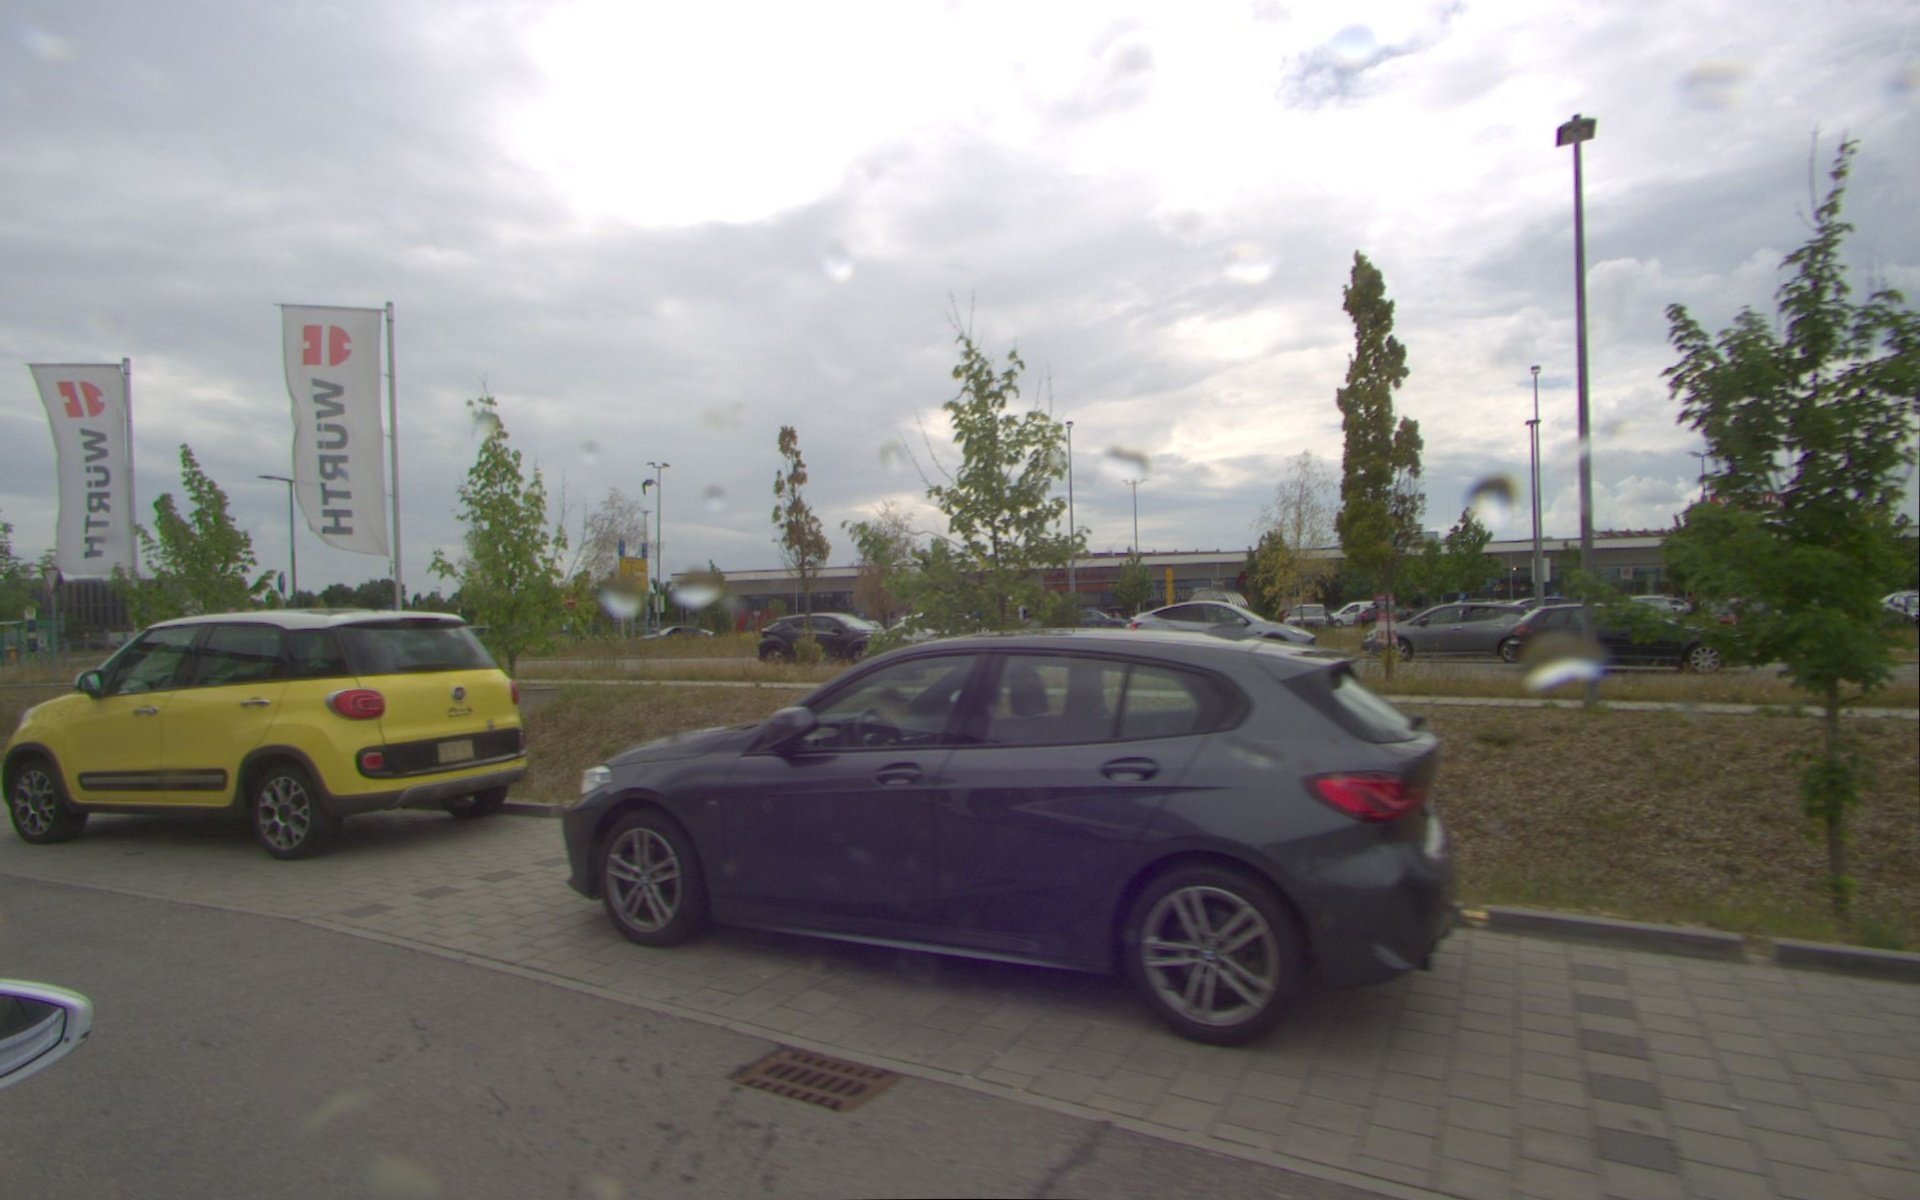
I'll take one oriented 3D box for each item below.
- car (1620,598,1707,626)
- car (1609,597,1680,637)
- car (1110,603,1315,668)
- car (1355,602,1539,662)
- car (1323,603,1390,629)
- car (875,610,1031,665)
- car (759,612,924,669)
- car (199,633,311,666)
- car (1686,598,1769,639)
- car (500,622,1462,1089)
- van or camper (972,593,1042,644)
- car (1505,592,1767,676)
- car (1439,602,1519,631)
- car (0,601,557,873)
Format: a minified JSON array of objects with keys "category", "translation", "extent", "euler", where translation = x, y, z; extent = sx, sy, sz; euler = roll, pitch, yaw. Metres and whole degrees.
[{"category":"car","translation":[43.423,0.767,61.900],"extent":[3.924,1.661,1.876],"euler":[-1,-1,11]},{"category":"car","translation":[27.004,0.669,39.614],"extent":[1.750,1.495,3.986],"euler":[-1,-1,26]},{"category":"car","translation":[6.394,0.886,25.484],"extent":[4.805,1.528,1.804],"euler":[-1,0,26]},{"category":"car","translation":[12.758,0.859,26.361],"extent":[4.199,1.474,1.992],"euler":[-2,-2,28]},{"category":"car","translation":[26.844,1.092,67.882],"extent":[3.924,1.661,1.876],"euler":[-1,-1,11]},{"category":"car","translation":[-0.211,1.096,29.203],"extent":[4.179,1.469,1.796],"euler":[-2,-1,24]},{"category":"car","translation":[-3.084,1.042,26.118],"extent":[3.935,1.372,1.754],"euler":[-1,-1,25]},{"category":"car","translation":[-30.162,2.123,42.866],"extent":[3.925,1.341,1.719],"euler":[-1,-1,12]},{"category":"car","translation":[29.332,0.700,38.386],"extent":[1.750,1.495,3.986],"euler":[-1,-1,26]},{"category":"car","translation":[0.005,0.858,4.805],"extent":[4.237,1.434,1.747],"euler":[-2,-2,26]},{"category":"van or camper","translation":[2.480,0.942,51.523],"extent":[2.253,2.525,3.987],"euler":[-1,-1,25]},{"category":"car","translation":[13.773,0.692,20.757],"extent":[4.268,1.589,1.902],"euler":[-1,-1,27]},{"category":"car","translation":[31.849,1.023,61.527],"extent":[3.924,1.661,1.876],"euler":[-1,-1,11]},{"category":"car","translation":[-5.469,0.926,7.816],"extent":[4.223,1.705,1.750],"euler":[-1,-1,20]}]
